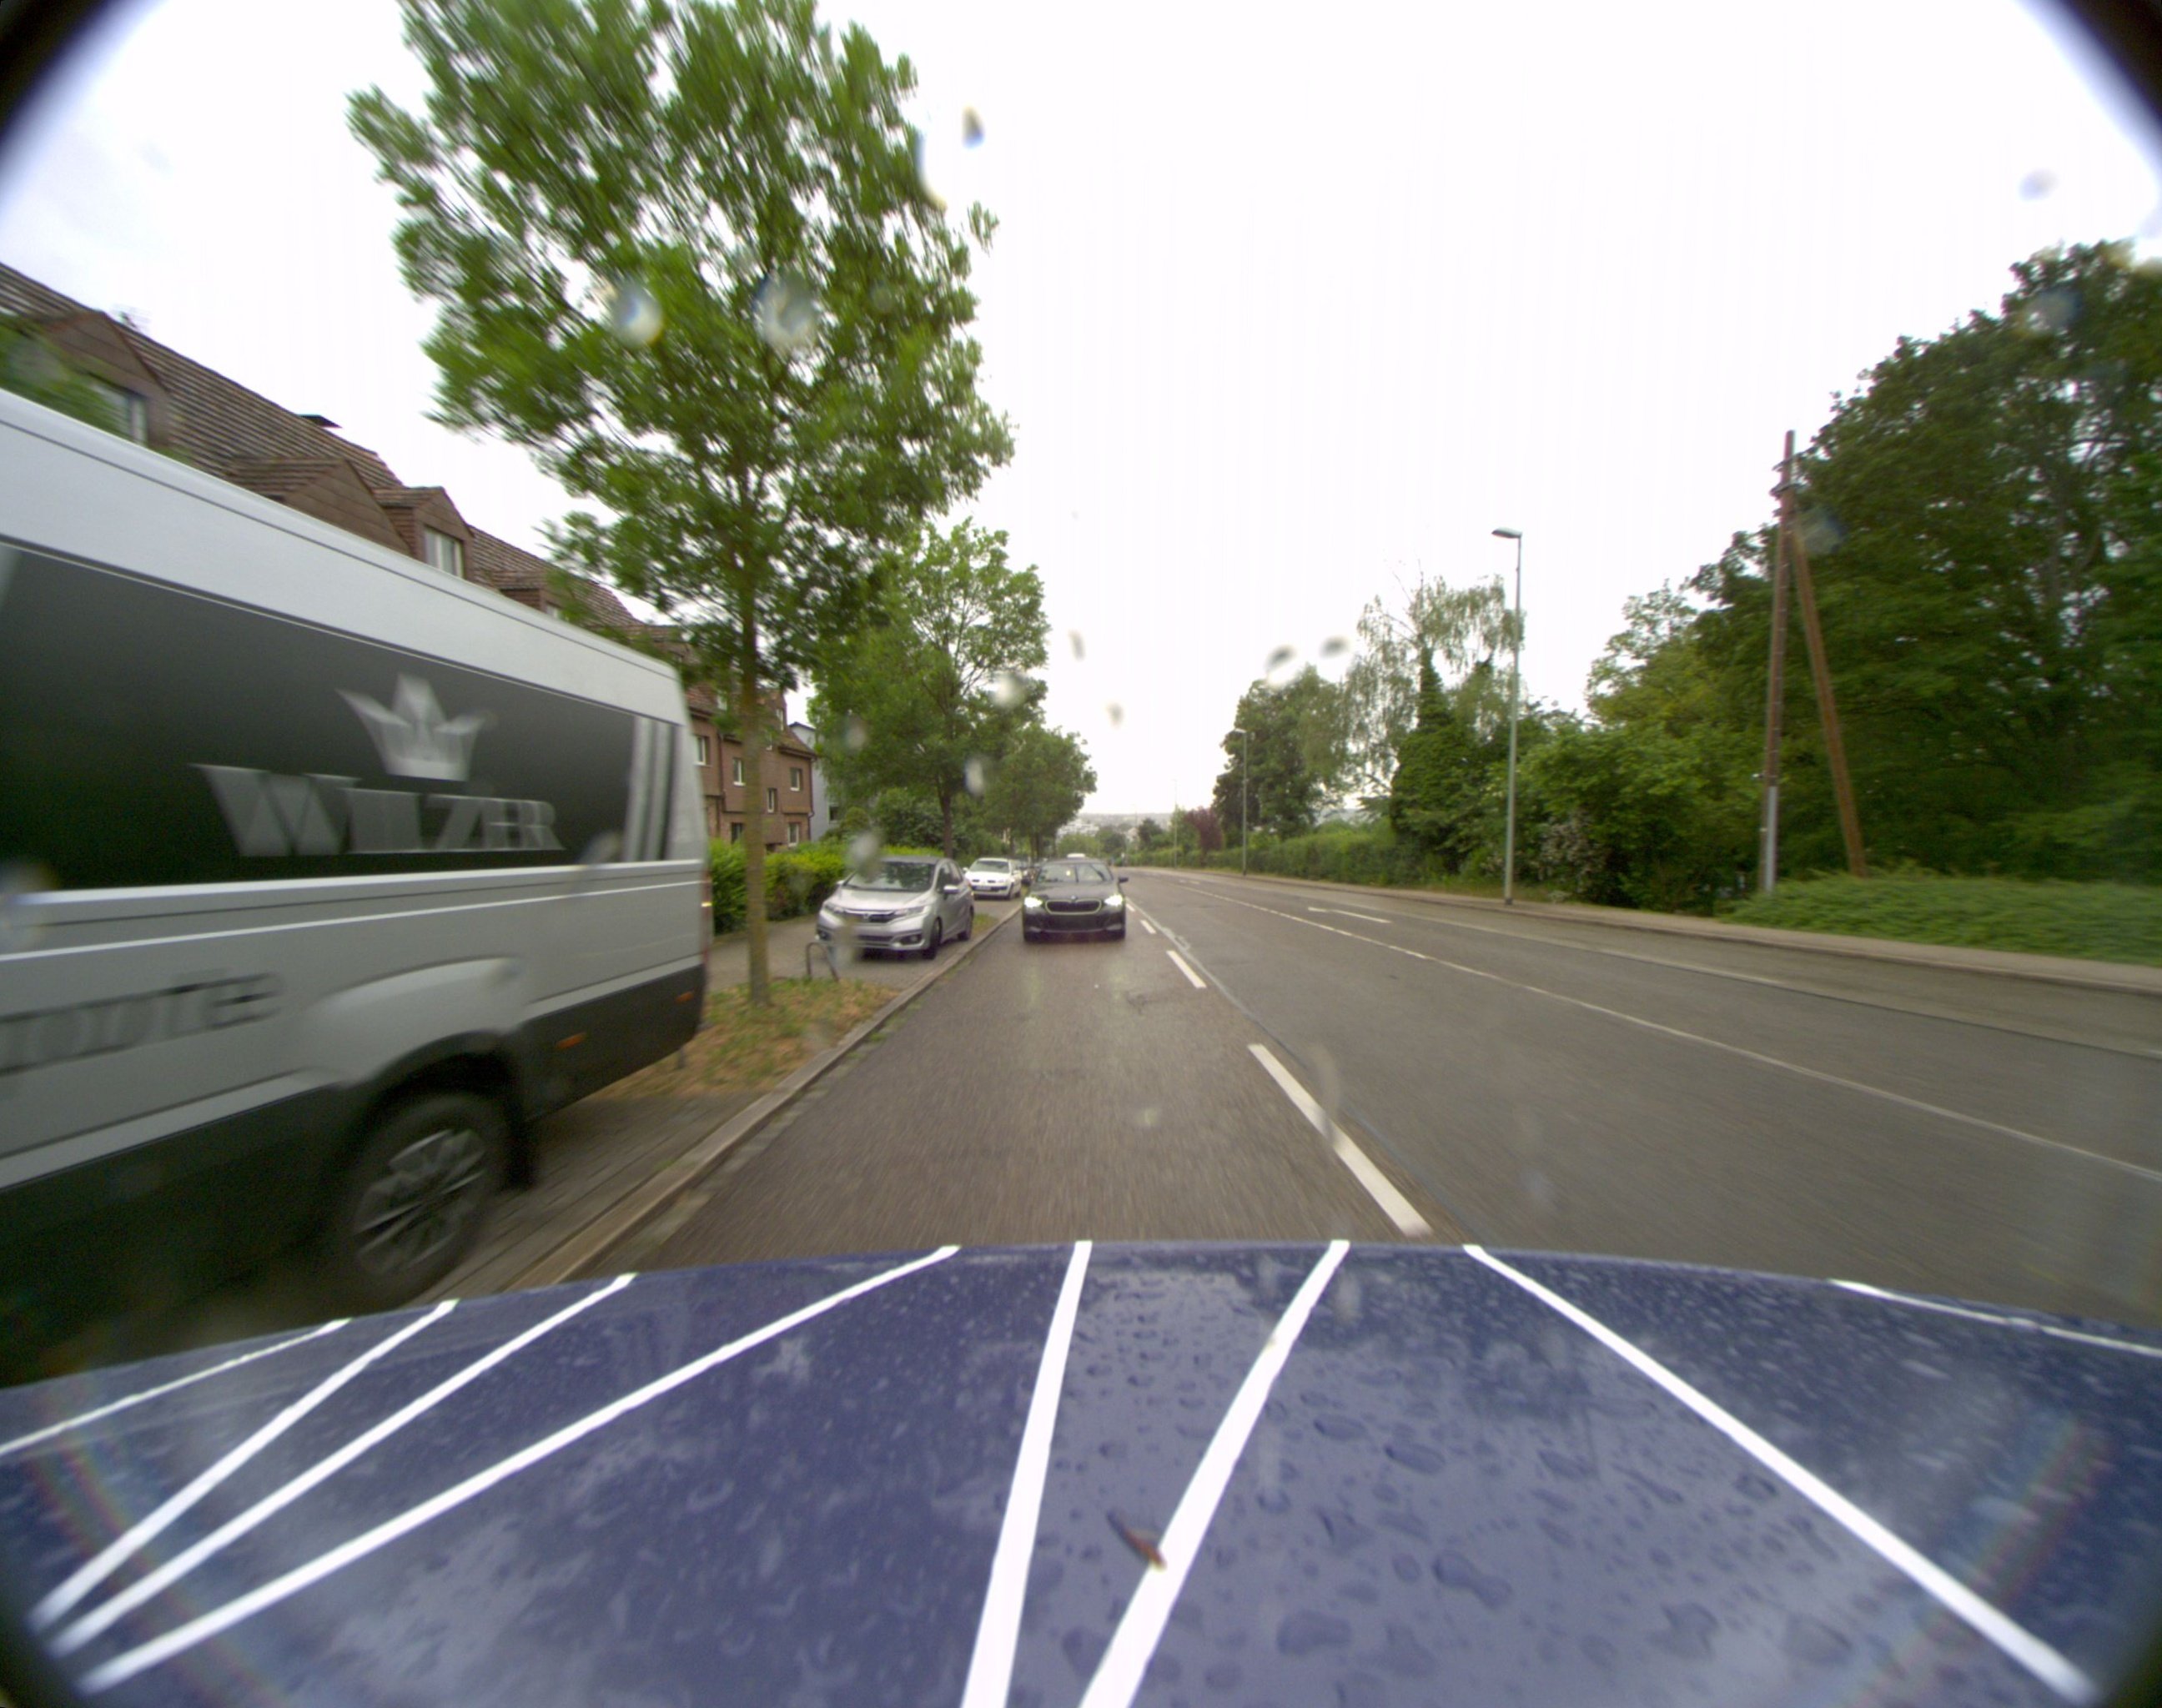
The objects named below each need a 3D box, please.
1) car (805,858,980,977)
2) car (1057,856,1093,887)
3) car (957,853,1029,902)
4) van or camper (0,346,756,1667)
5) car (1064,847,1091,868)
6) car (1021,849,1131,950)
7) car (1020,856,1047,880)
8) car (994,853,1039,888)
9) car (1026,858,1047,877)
[{"bbox_3d":[-2.852,0.884,12.374,1.672,1.519,3.832,2,0,3],"label":"car"},{"bbox_3d":[-0.360,0.982,44.446,1.999,1.674,4.173,0,0,0],"label":"car"},{"bbox_3d":[-3.097,0.796,27.767,1.828,1.593,4.475,1,0,3],"label":"car"},{"bbox_3d":[-3.258,0.297,1.178,2.203,2.636,7.302,1,0,1],"label":"van or camper"},{"bbox_3d":[-0.359,0.281,65.312,1.999,1.674,4.172,0,0,-5],"label":"car"},{"bbox_3d":[-0.086,0.792,15.279,1.829,1.668,4.296,-2,0,0],"label":"car"},{"bbox_3d":[-3.194,0.933,51.458,1.726,1.503,3.785,1,0,-2],"label":"car"},{"bbox_3d":[-3.208,0.788,38.548,1.829,1.668,4.584,1,0,0],"label":"car"},{"bbox_3d":[-3.779,1.138,65.262,1.646,1.586,4.013,1,0,-2],"label":"car"}]
